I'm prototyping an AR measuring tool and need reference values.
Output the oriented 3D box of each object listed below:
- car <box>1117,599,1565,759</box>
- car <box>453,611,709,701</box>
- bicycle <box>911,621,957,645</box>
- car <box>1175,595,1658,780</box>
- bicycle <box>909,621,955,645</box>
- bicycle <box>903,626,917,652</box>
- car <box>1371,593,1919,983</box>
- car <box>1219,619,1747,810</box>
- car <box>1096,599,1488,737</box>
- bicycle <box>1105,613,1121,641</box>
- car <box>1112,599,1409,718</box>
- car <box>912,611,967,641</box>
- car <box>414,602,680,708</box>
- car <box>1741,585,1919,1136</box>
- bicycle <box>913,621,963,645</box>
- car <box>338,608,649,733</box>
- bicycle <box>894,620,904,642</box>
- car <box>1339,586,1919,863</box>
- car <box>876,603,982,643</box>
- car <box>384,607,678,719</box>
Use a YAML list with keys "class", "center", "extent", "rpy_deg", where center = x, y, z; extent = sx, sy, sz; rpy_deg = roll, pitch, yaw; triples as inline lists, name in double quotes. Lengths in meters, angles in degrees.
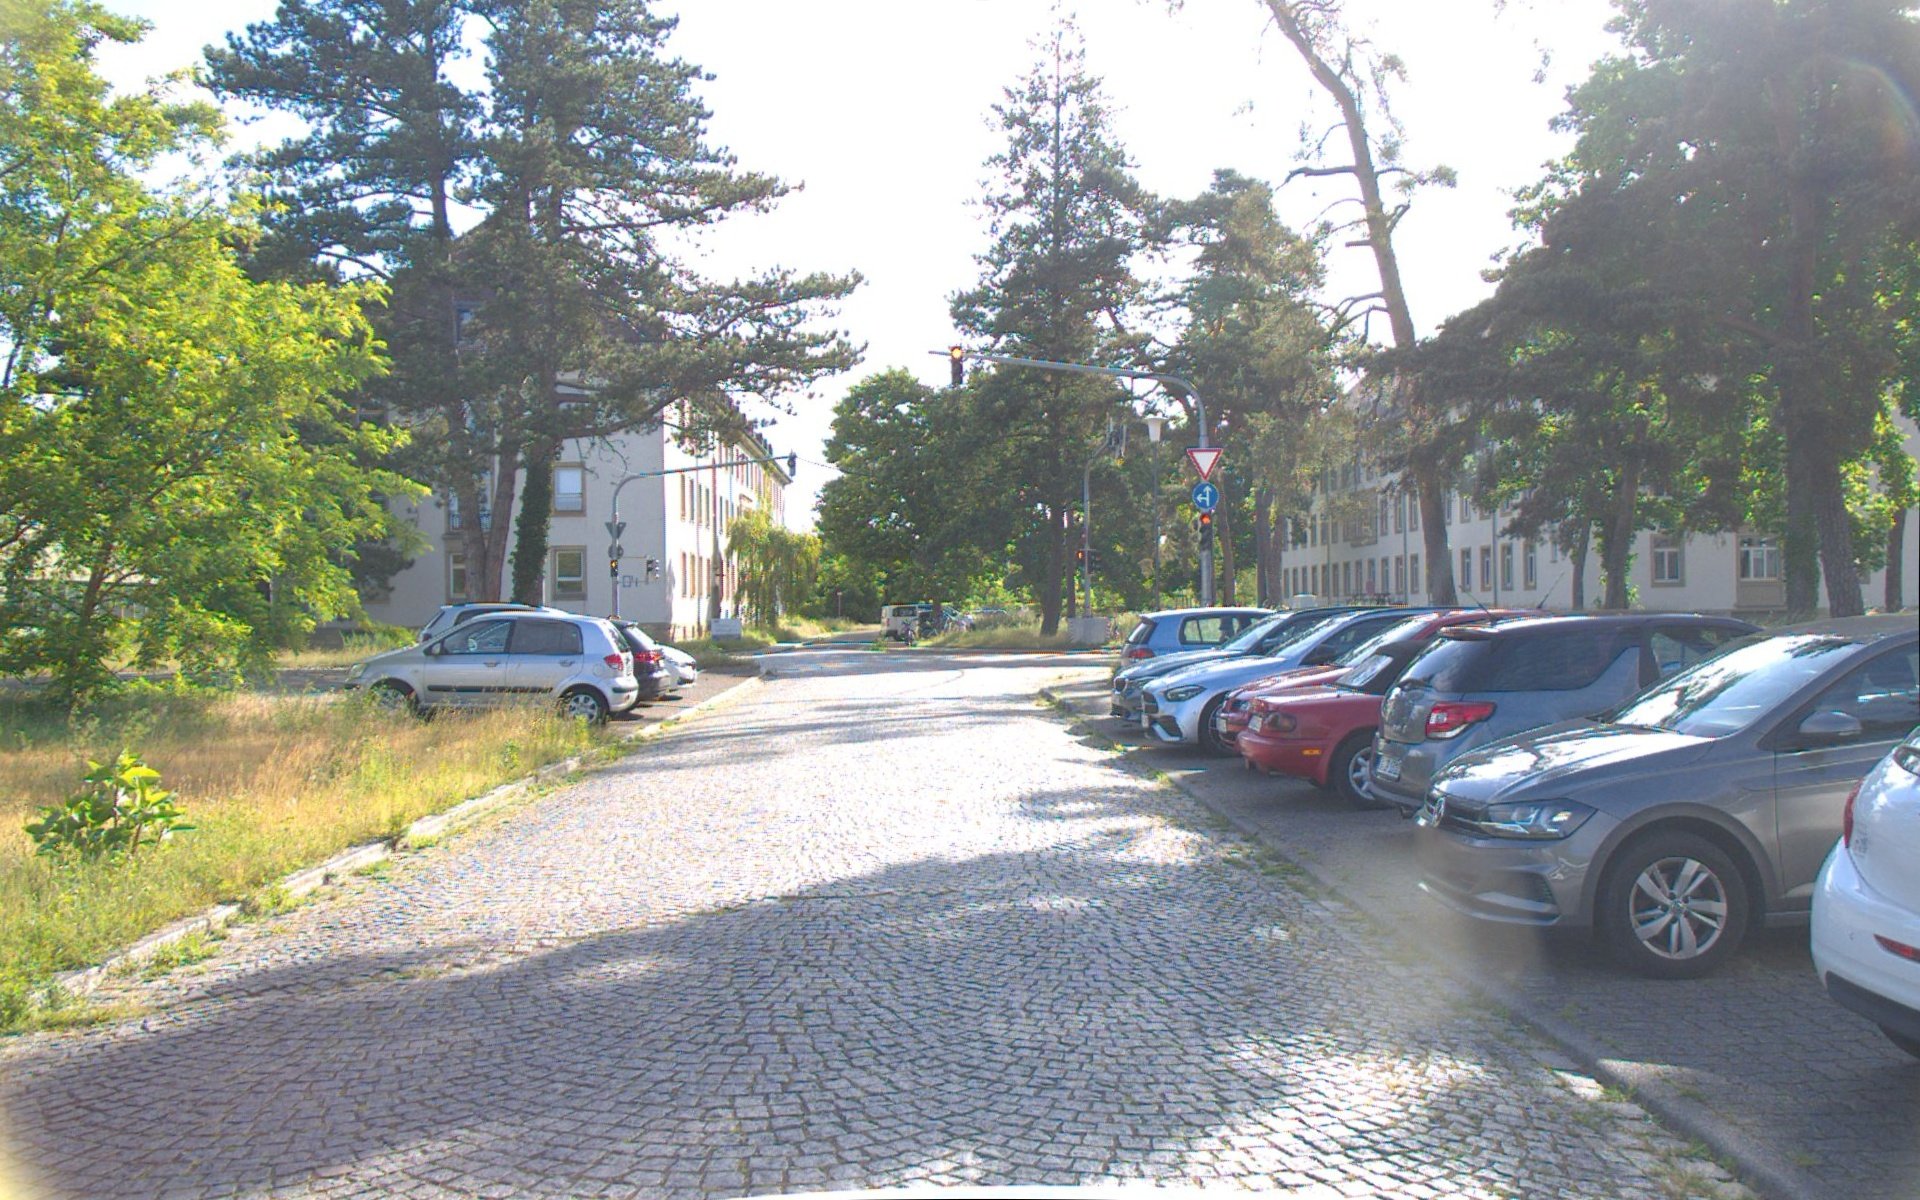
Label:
- class: "car"
  center: [3.975, 0.803, 17.732]
  extent: [4.342, 1.440, 1.780]
  rpy_deg: [-2, 0, -1]
- class: "car"
  center: [-6.763, 0.992, 29.921]
  extent: [4.249, 1.494, 1.829]
  rpy_deg: [1, 0, -5]
- class: "bicycle"
  center: [-1.165, 1.457, 73.641]
  extent: [1.968, 1.028, 0.630]
  rpy_deg: [1, -1, -10]
- class: "car"
  center: [4.182, 0.773, 15.554]
  extent: [4.044, 1.474, 1.636]
  rpy_deg: [-2, 0, -1]
- class: "bicycle"
  center: [-1.266, 1.471, 74.520]
  extent: [1.991, 1.028, 0.626]
  rpy_deg: [1, -1, -10]
- class: "bicycle"
  center: [-2.054, 1.594, 68.199]
  extent: [0.458, 1.028, 1.584]
  rpy_deg: [1, -1, -5]
- class: "car"
  center: [3.999, 0.749, 7.731]
  extent: [3.632, 1.474, 1.856]
  rpy_deg: [-2, 0, -1]
- class: "car"
  center: [4.057, 0.865, 13.250]
  extent: [3.632, 1.244, 1.746]
  rpy_deg: [-2, 0, -1]
- class: "car"
  center: [4.010, 0.806, 20.449]
  extent: [4.467, 1.440, 1.636]
  rpy_deg: [-2, 0, -1]
- class: "bicycle"
  center: [5.556, 0.980, 60.063]
  extent: [0.295, 0.977, 1.584]
  rpy_deg: [1, -1, -5]
- class: "car"
  center: [4.153, 0.791, 23.234]
  extent: [3.804, 1.440, 1.636]
  rpy_deg: [-2, 0, -1]
- class: "car"
  center: [-1.077, 1.342, 86.412]
  extent: [2.728, 1.492, 1.669]
  rpy_deg: [1, -1, -6]
- class: "car"
  center: [-6.775, 0.892, 27.504]
  extent: [4.000, 1.621, 1.883]
  rpy_deg: [1, 0, -5]
- class: "car"
  center: [4.531, 0.677, 4.826]
  extent: [3.632, 1.561, 1.760]
  rpy_deg: [-2, 0, -1]
- class: "bicycle"
  center: [-0.962, 1.432, 72.020]
  extent: [2.070, 1.028, 0.619]
  rpy_deg: [1, -1, -10]
- class: "car"
  center: [-6.097, 0.906, 21.955]
  extent: [3.673, 1.513, 1.644]
  rpy_deg: [1, 0, -5]
- class: "bicycle"
  center: [-2.998, 1.526, 81.522]
  extent: [0.409, 1.028, 1.483]
  rpy_deg: [1, -1, -1]
- class: "car"
  center: [4.504, 0.726, 10.664]
  extent: [3.633, 1.474, 1.816]
  rpy_deg: [-2, 0, -2]
- class: "car"
  center: [-1.694, 1.242, 89.993]
  extent: [5.440, 2.049, 1.988]
  rpy_deg: [2, -1, -20]
- class: "car"
  center: [-6.252, 0.911, 24.458]
  extent: [3.909, 1.506, 1.801]
  rpy_deg: [1, 0, -5]
